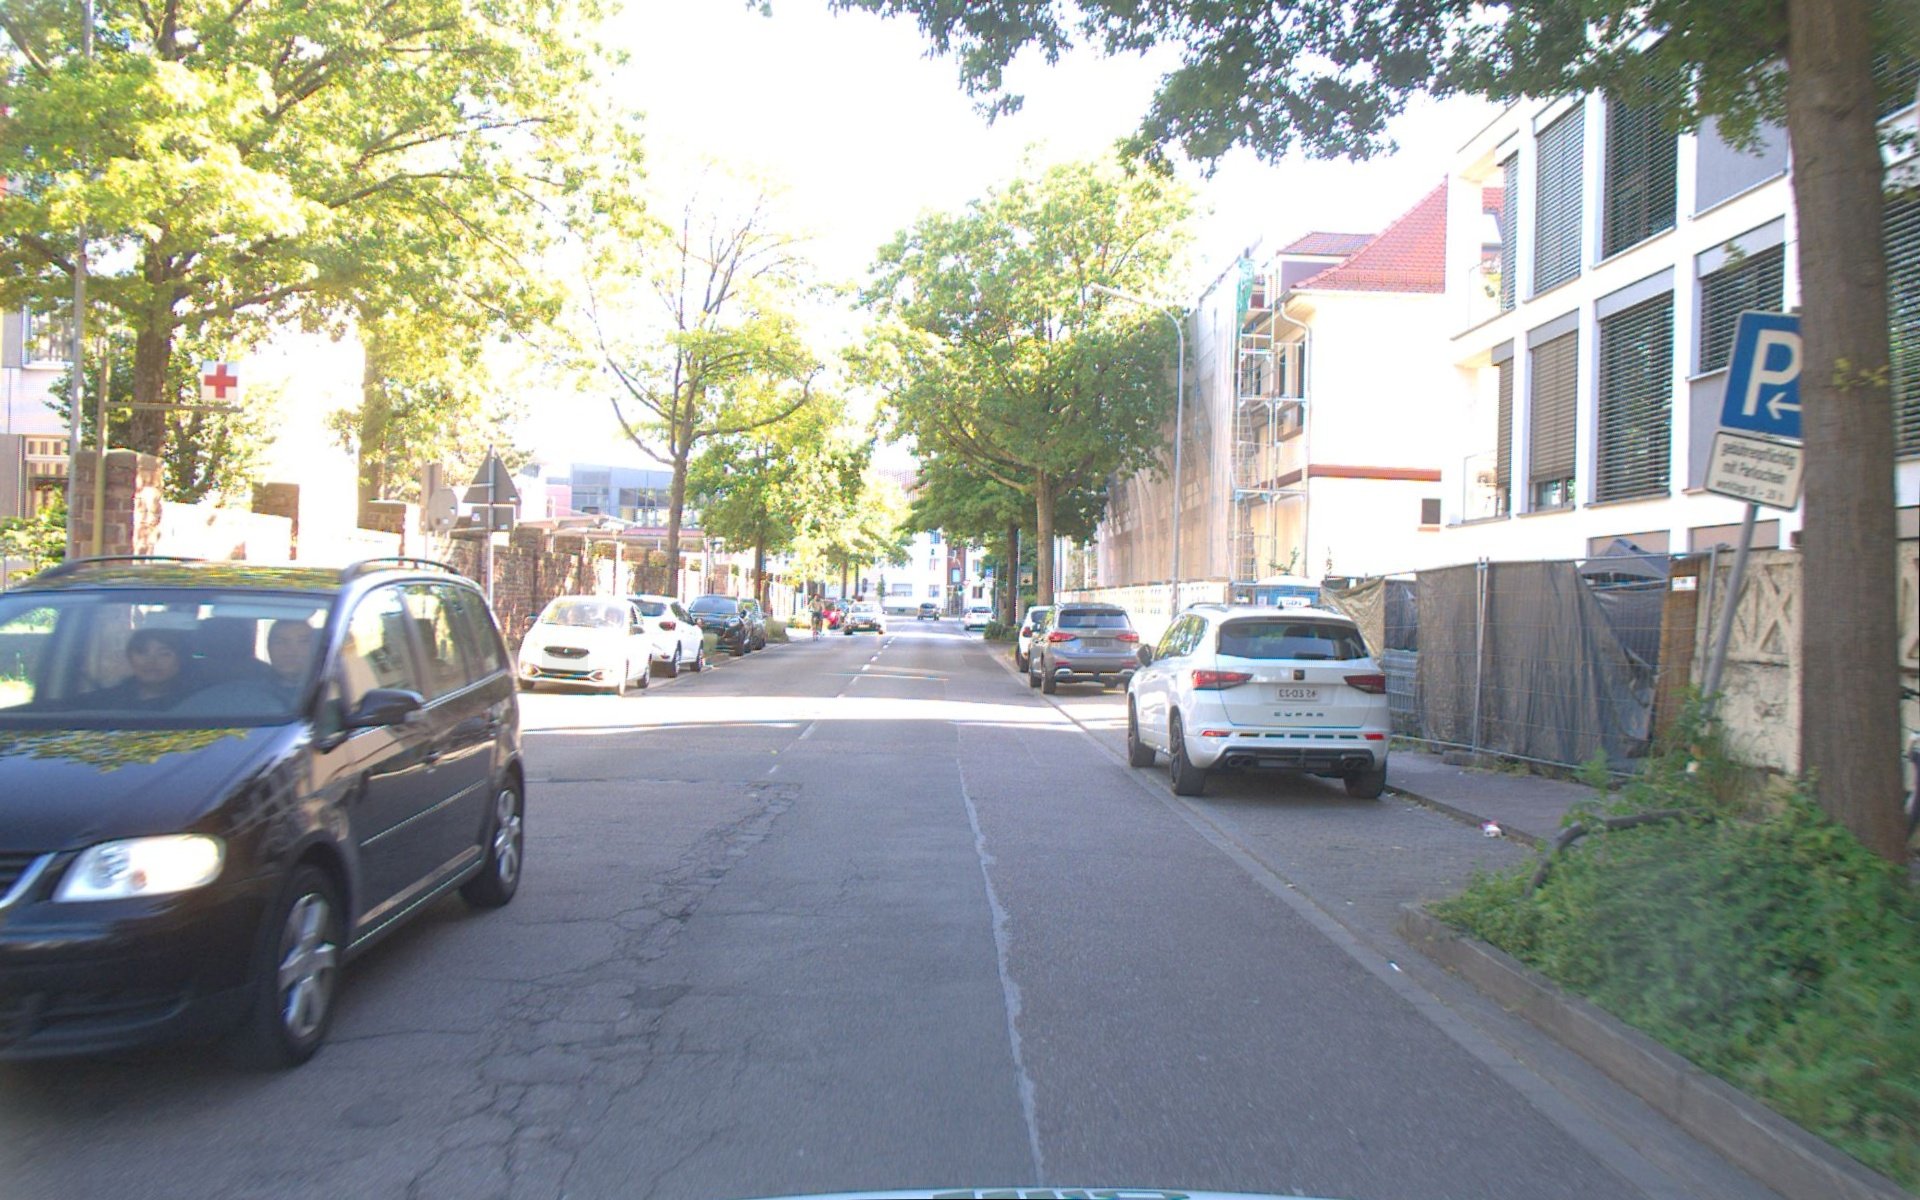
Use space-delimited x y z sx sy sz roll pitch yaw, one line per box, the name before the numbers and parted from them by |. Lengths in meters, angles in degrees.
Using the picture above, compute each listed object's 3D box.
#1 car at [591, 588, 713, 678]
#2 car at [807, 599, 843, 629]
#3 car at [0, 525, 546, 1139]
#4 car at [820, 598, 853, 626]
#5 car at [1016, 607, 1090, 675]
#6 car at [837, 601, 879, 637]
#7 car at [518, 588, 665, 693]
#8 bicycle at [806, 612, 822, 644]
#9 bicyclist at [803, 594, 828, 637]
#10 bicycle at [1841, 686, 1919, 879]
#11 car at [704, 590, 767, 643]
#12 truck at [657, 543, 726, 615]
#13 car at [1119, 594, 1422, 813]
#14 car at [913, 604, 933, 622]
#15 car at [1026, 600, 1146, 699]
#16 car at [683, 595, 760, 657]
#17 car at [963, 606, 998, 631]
car | -6.070 0.629 32.988 1.643 1.537 3.849 5 0 -1
car | -7.210 0.746 88.683 1.576 1.484 3.707 4 0 -1
car | -2.824 0.616 6.414 1.611 1.639 4.018 0 0 -3
car | -7.604 0.746 102.083 1.701 1.620 4.106 2 0 0
car | 2.198 0.945 39.906 1.688 1.536 3.992 1 0 2
car | -4.651 0.844 75.665 1.785 1.461 3.967 4 0 -3
car | -5.885 0.612 26.775 1.543 1.426 3.749 6 0 -2
bicycle | -5.467 1.036 61.985 0.350 1.140 1.866 4 0 0
bicyclist | -5.408 0.568 62.001 0.706 1.549 1.005 4 -1 1
bicycle | 5.621 1.059 9.248 0.330 1.059 1.830 3 0 -2
car | -6.744 0.482 49.999 1.654 1.446 3.834 4 0 -5
truck | -15.325 -1.154 94.966 2.678 3.775 7.425 4 0 -2
car | 2.661 0.821 15.144 1.757 1.644 4.124 3 0 -3
car | -3.248 1.186 146.422 1.606 1.468 3.420 4 0 -1
car | 2.302 0.874 31.219 1.678 1.667 4.300 2 0 -3
car | -6.385 0.674 44.598 1.542 1.541 4.043 3 0 -2
car | 1.153 1.052 96.297 1.795 1.346 4.494 1 0 -2
